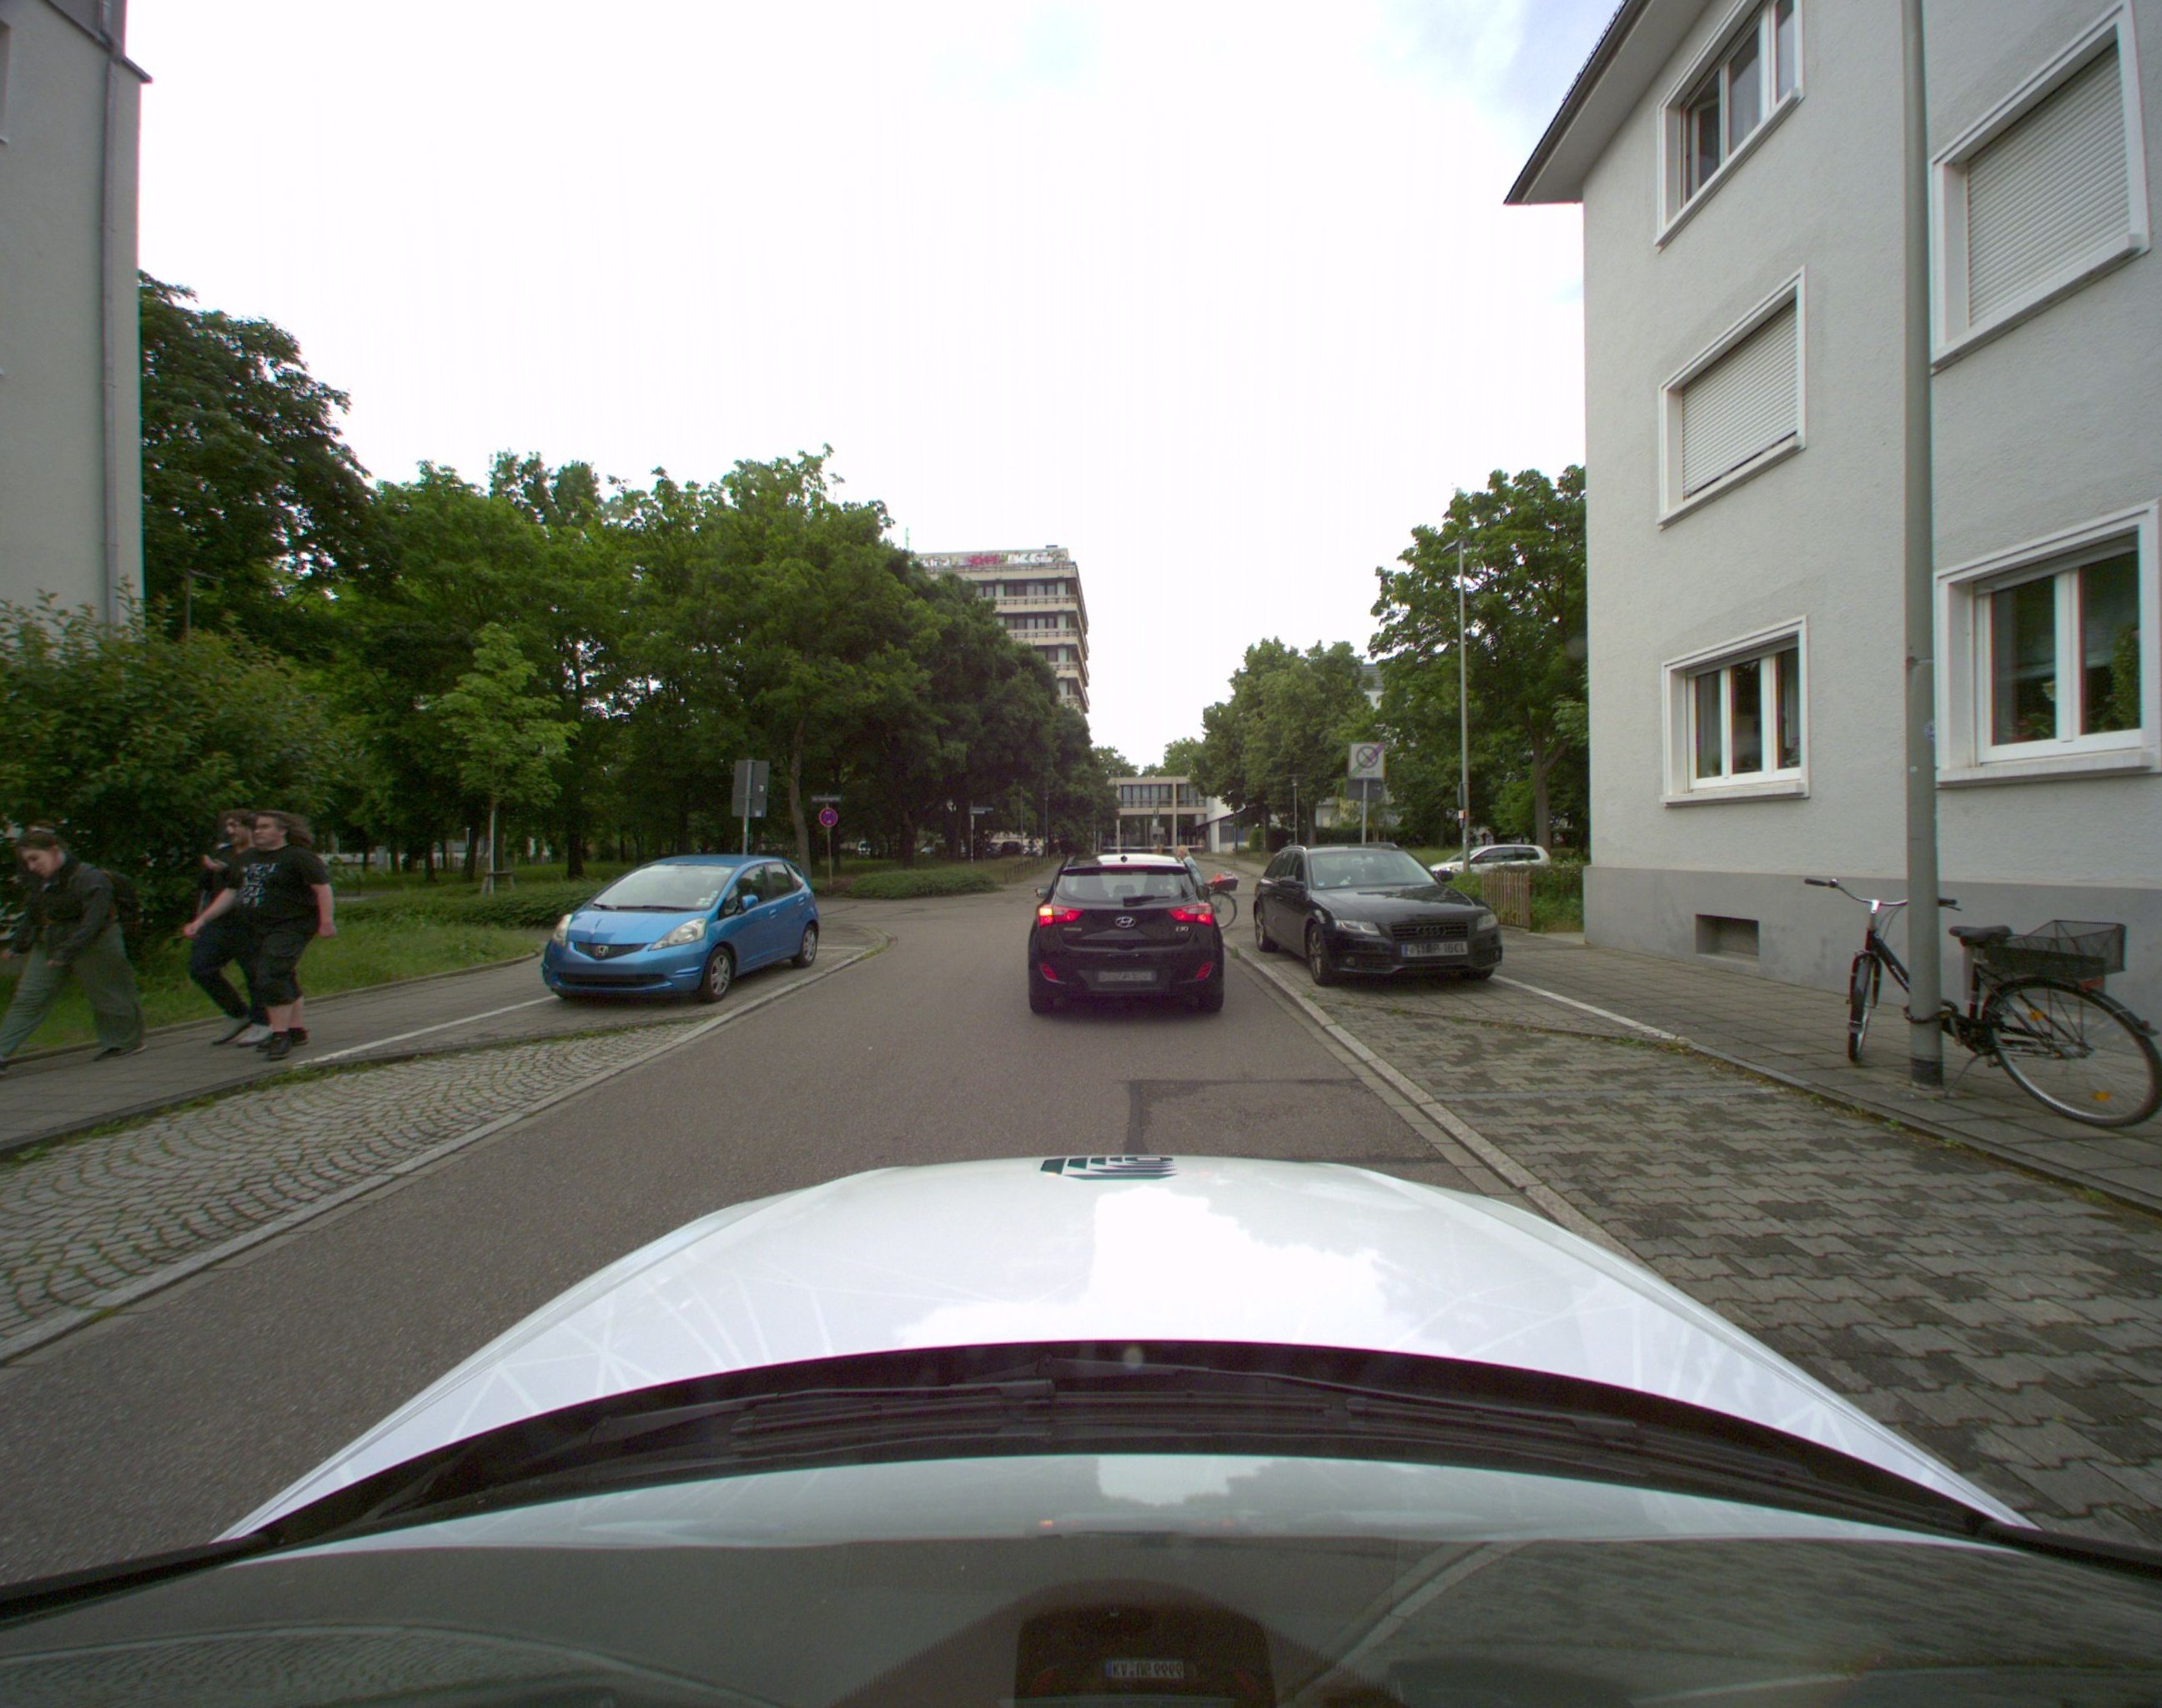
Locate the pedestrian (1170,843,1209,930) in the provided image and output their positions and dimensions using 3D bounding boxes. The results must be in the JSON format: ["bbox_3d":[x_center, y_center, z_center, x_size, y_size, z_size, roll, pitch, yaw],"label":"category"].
[{"bbox_3d":[2.014,0.589,15.087,0.565,1.549,0.447,-3,1,-5],"label":"pedestrian"}]

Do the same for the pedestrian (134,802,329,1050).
[{"bbox_3d":[-6.728,0.540,6.494,0.704,1.854,0.763,-1,0,1],"label":"pedestrian"}]

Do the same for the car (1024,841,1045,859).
[{"bbox_3d":[-4.621,-0.391,81.958,1.988,1.762,3.997,-1,0,-2],"label":"car"}]

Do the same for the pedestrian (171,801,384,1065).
[{"bbox_3d":[-6.113,0.554,6.260,0.638,1.863,0.974,1,0,1],"label":"pedestrian"}]

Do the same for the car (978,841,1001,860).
[{"bbox_3d":[-9.200,-0.343,82.035,1.988,1.794,3.997,-1,-1,-2],"label":"car"}]

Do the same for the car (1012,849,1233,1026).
[{"bbox_3d":[0.355,0.691,8.756,1.840,1.462,3.827,-1,0,0],"label":"car"}]

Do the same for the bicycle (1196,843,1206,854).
[{"bbox_3d":[12.562,-0.615,85.215,0.863,1.074,2.144,-1,1,3],"label":"bicycle"}]

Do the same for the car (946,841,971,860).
[{"bbox_3d":[-12.306,-0.309,81.800,1.988,1.728,3.997,-1,-1,-2],"label":"car"}]

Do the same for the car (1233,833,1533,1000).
[{"bbox_3d":[3.215,0.545,9.826,1.854,1.462,4.725,-2,1,0],"label":"car"}]

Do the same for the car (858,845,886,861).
[{"bbox_3d":[-21.169,-0.115,82.666,1.912,1.618,3.997,-1,0,-2],"label":"car"}]

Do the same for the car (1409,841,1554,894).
[{"bbox_3d":[11.742,0.373,24.008,3.521,1.437,1.567,-1,1,0],"label":"car"}]

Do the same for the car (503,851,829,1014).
[{"bbox_3d":[-4.552,0.737,9.697,1.724,1.462,3.958,1,1,2],"label":"car"}]

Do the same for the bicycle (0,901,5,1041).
[{"bbox_3d":[-8.633,0.921,5.185,0.654,1.068,2.123,-1,1,2],"label":"bicycle"}]

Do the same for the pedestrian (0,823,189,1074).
[{"bbox_3d":[-7.111,0.624,5.787,0.612,1.657,0.803,-1,0,1],"label":"pedestrian"}]

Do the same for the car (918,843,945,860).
[{"bbox_3d":[-15.013,-0.278,81.951,1.988,1.618,3.997,-1,0,-2],"label":"car"}]

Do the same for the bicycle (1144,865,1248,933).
[{"bbox_3d":[2.152,0.832,15.325,1.810,1.119,0.537,-3,1,-7],"label":"bicycle"}]

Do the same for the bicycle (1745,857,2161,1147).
[{"bbox_3d":[4.813,0.650,4.497,0.746,1.200,1.896,-3,1,2],"label":"bicycle"}]

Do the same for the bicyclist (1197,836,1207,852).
[{"bbox_3d":[12.643,-1.009,85.134,1.013,1.644,0.924,-1,1,3],"label":"bicyclist"}]
